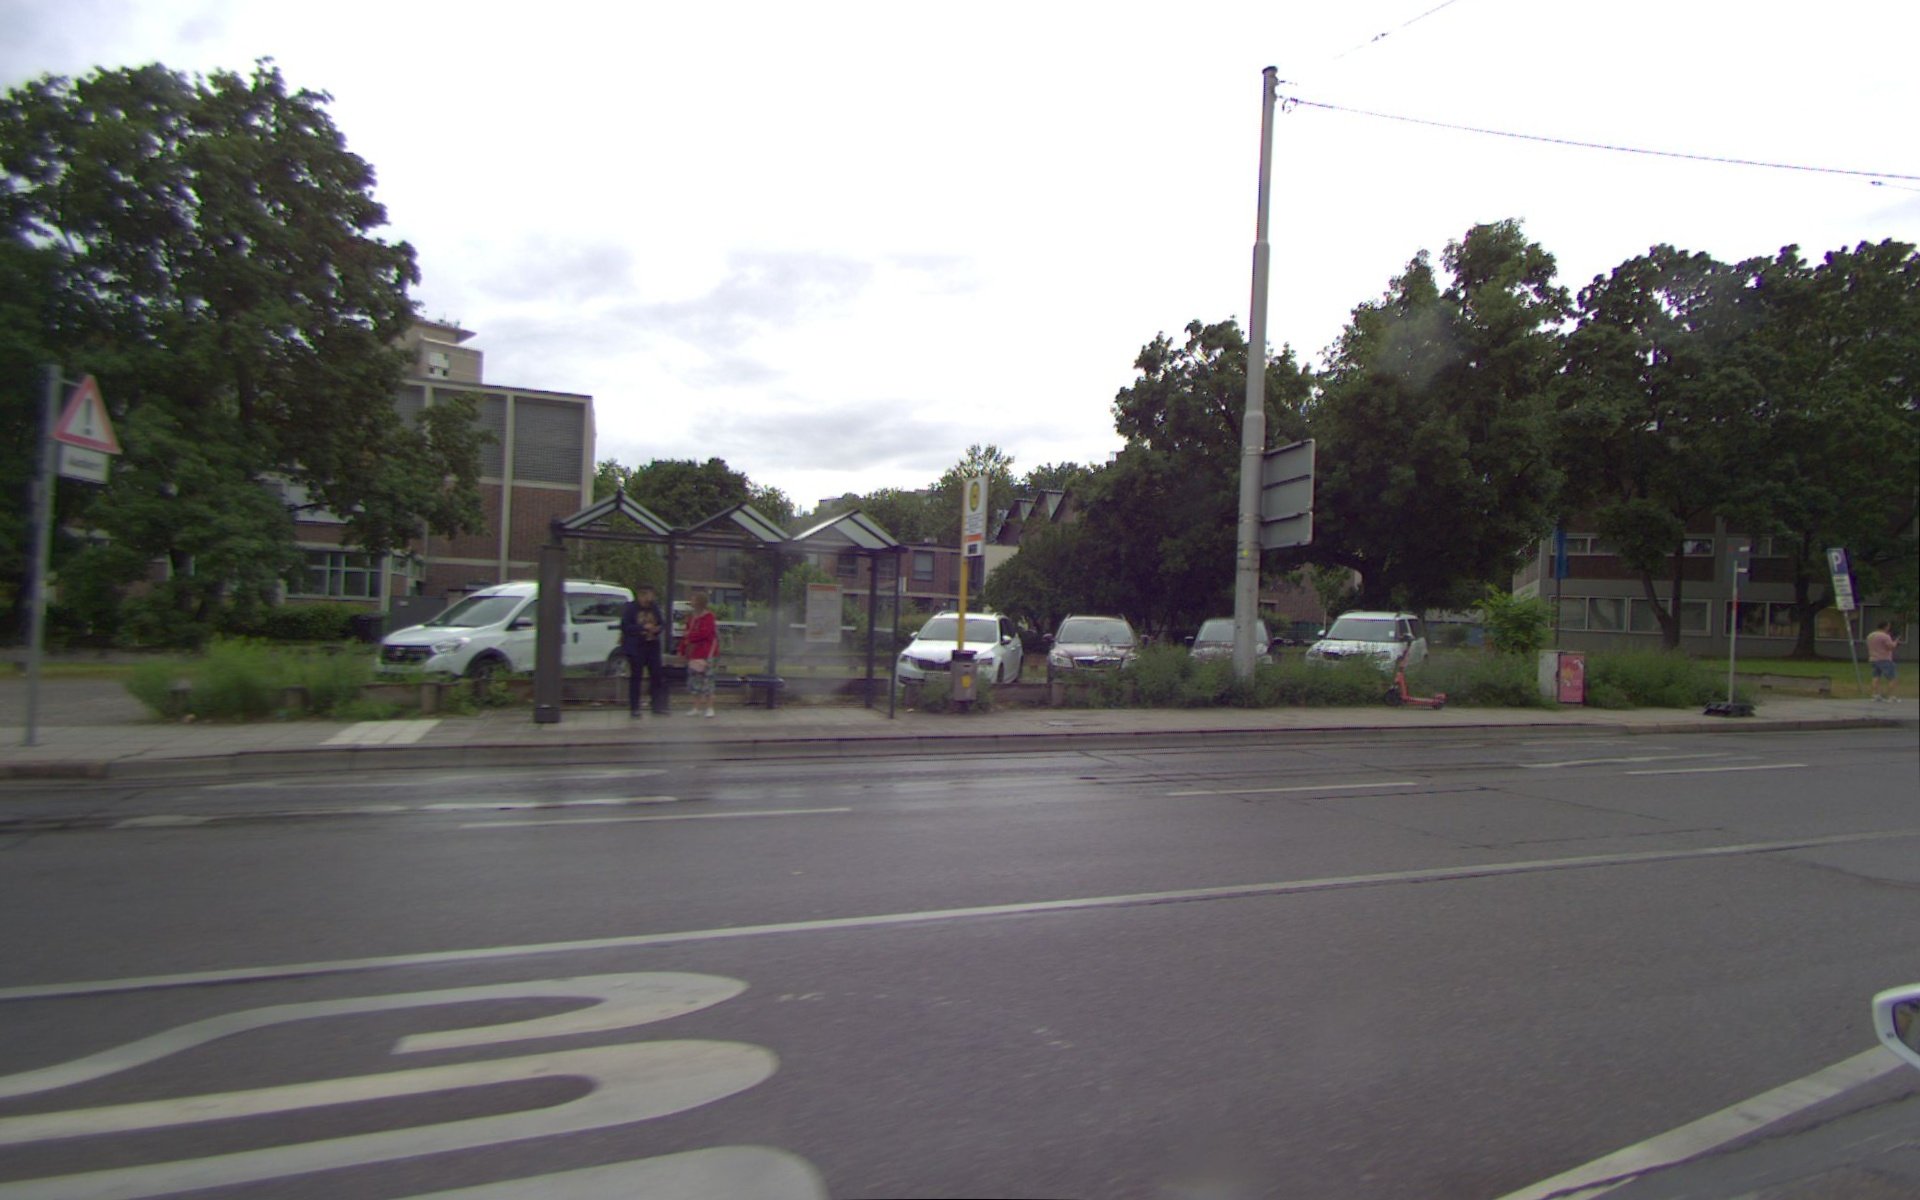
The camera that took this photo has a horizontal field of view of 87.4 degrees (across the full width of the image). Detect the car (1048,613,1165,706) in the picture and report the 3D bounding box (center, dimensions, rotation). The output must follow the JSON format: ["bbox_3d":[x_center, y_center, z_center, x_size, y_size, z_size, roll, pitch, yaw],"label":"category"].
[{"bbox_3d":[2.603,0.999,18.700,1.866,1.367,4.585,1,0,5],"label":"car"}]

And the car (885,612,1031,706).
[{"bbox_3d":[0.114,0.952,18.095,1.866,1.367,4.383,1,0,10],"label":"car"}]

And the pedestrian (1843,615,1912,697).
[{"bbox_3d":[19.715,1.202,21.600,0.897,1.709,0.670,1,1,-13],"label":"pedestrian"}]

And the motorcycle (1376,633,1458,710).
[{"bbox_3d":[7.911,1.230,17.385,1.248,1.264,0.514,1,1,-19],"label":"motorcycle"}]

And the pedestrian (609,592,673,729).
[{"bbox_3d":[-4.181,0.771,13.164,0.664,1.718,0.681,1,1,-28],"label":"pedestrian"}]

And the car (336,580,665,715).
[{"bbox_3d":[-7.060,0.641,16.086,1.977,1.778,4.722,2,1,22],"label":"car"}]

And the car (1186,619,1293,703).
[{"bbox_3d":[5.446,1.108,19.714,1.806,1.367,3.599,2,0,15],"label":"car"}]

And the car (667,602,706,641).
[{"bbox_3d":[-15.130,1.158,55.635,1.967,2.040,3.987,1,0,-15],"label":"car"}]

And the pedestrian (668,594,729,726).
[{"bbox_3d":[-3.513,0.784,13.481,0.635,1.718,0.624,1,1,-28],"label":"pedestrian"}]

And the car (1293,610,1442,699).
[{"bbox_3d":[8.706,1.047,21.215,1.838,1.631,4.510,2,1,36],"label":"car"}]
